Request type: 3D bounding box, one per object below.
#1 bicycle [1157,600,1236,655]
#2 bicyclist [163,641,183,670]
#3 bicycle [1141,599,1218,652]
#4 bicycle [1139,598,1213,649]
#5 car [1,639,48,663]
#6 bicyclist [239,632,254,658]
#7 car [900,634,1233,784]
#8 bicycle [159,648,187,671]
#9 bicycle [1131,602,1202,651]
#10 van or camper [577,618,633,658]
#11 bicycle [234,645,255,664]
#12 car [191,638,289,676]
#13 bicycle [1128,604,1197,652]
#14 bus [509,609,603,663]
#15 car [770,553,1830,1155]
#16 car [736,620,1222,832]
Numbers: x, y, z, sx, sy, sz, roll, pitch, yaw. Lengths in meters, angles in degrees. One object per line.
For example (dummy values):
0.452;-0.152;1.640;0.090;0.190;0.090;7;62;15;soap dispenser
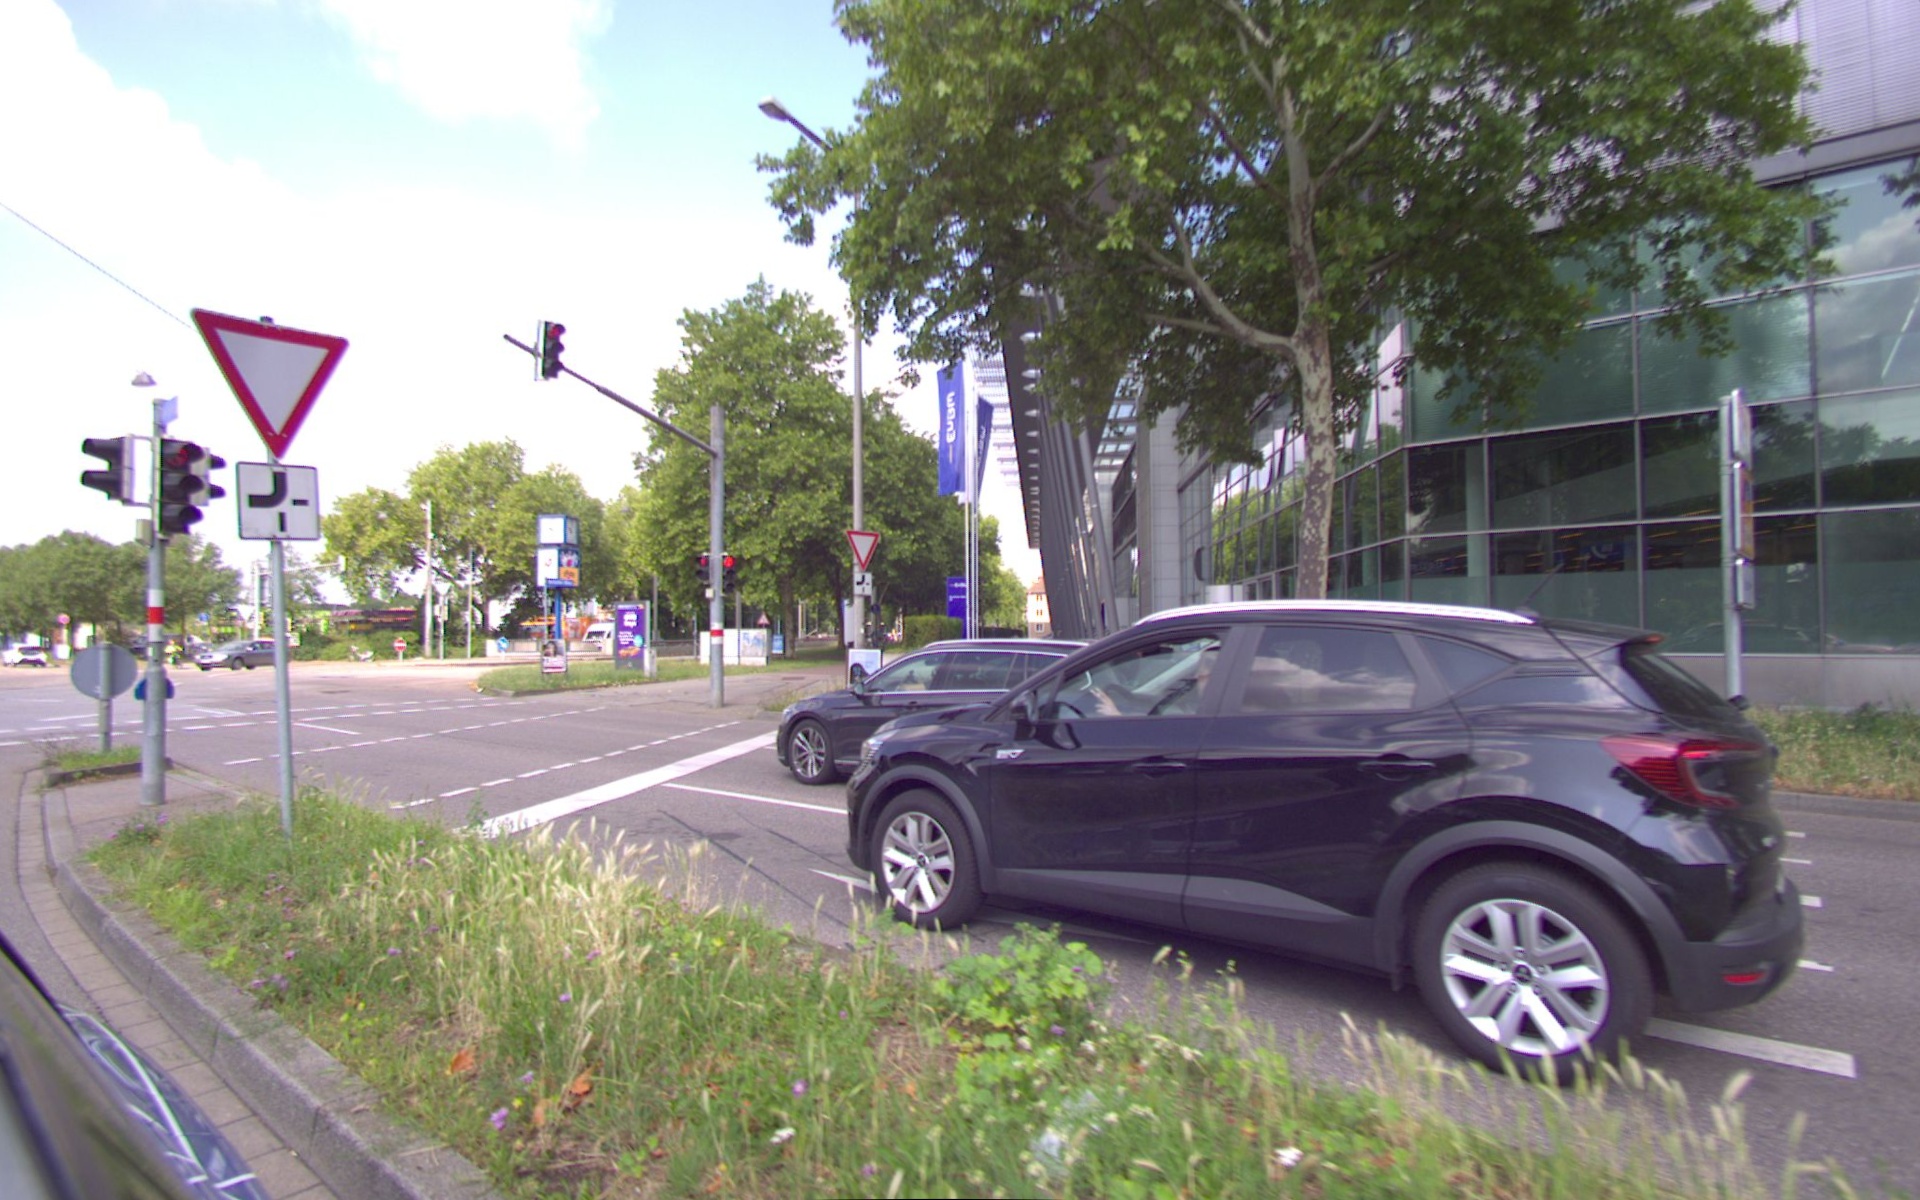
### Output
6.868;0.784;29.503;2.156;1.451;0.689;3;2;10;bicycle
-49.946;3.526;64.197;0.835;1.691;0.670;1;4;33;bicyclist
6.551;0.744;30.313;2.156;1.451;0.689;3;2;10;bicycle
6.670;0.712;31.362;2.156;1.451;0.689;3;2;10;bicycle
-60.825;3.310;65.806;3.795;1.490;1.727;-1;-3;40;car
-46.995;2.952;66.651;0.667;1.699;0.755;1;-3;-44;bicyclist
1.321;1.301;13.211;3.991;1.584;1.714;0;-3;35;car
-49.963;3.766;64.234;2.227;1.205;0.670;2;5;34;bicycle
6.563;0.835;32.184;2.118;1.394;0.739;3;2;12;bicycle
-29.599;3.142;84.558;2.137;2.806;5.959;3;2;4;van or camper
-47.043;3.591;66.533;0.780;1.205;2.235;1;-2;-43;bicycle
-35.205;2.755;49.634;1.750;1.475;3.995;0;2;5;car
6.603;0.902;33.063;2.118;1.394;0.739;3;2;12;bicycle
-32.624;2.803;82.295;2.712;3.491;10.381;3;2;5;bus
1.172;0.753;4.774;4.358;1.599;1.690;-2;-3;40;car
-0.003;1.036;9.781;4.564;1.586;1.846;-2;-3;40;car
